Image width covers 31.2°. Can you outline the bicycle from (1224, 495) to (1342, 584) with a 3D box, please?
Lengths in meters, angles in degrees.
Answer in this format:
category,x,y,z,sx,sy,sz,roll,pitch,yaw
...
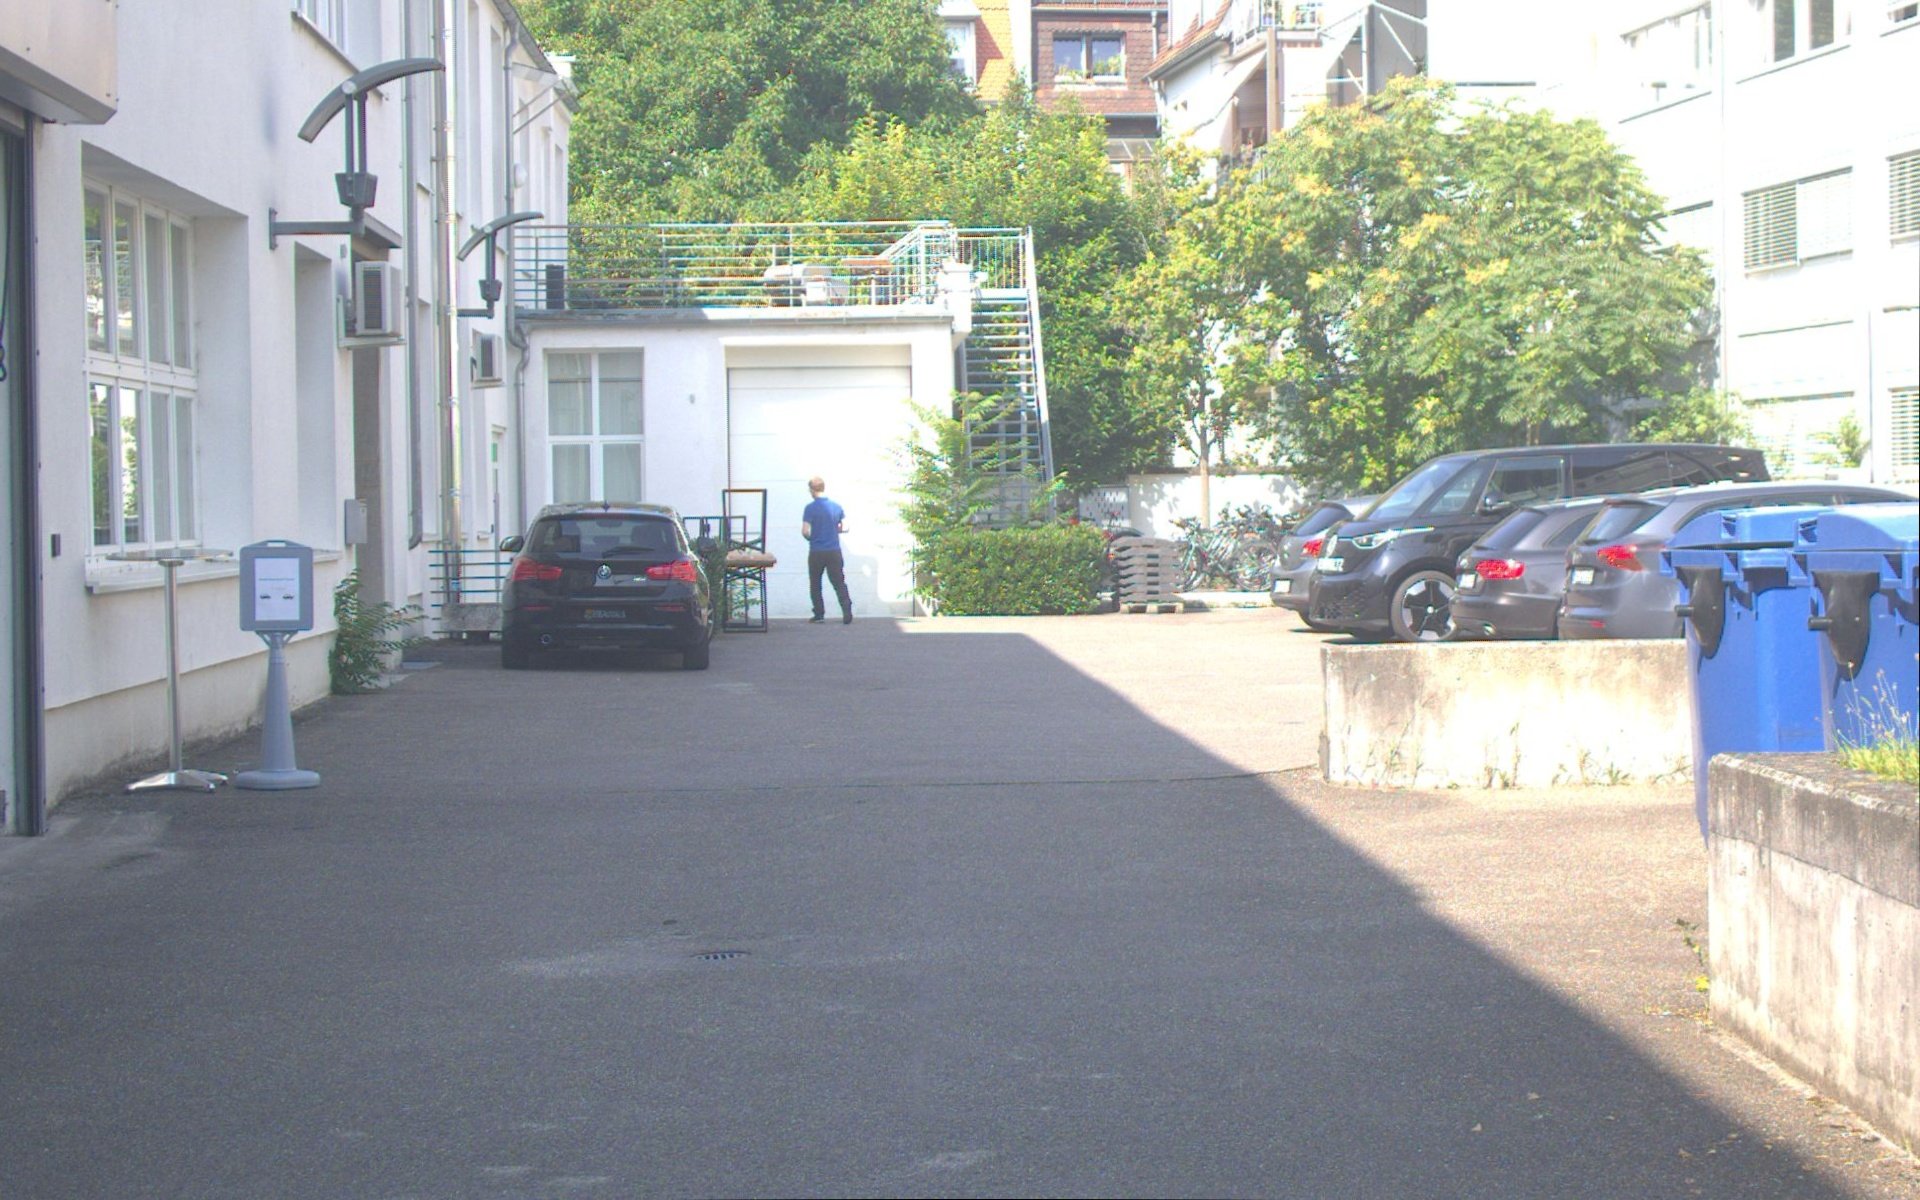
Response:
category,x,y,z,sx,sy,sz,roll,pitch,yaw
bicycle,4.688,-0.878,49.853,1.624,1.210,0.424,-2,2,11

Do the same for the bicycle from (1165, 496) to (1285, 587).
category,x,y,z,sx,sy,sz,roll,pitch,yaw
bicycle,3.762,-0.833,48.855,1.624,1.210,0.327,-2,2,11

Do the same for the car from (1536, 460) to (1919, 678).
category,x,y,z,sx,sy,sz,roll,pitch,yaw
car,6.673,-0.274,26.902,3.861,1.583,1.880,-2,1,-7

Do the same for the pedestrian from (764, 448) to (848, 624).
category,x,y,z,sx,sy,sz,roll,pitch,yaw
pedestrian,-1.788,-0.744,40.108,0.913,2.007,0.935,-1,1,-2

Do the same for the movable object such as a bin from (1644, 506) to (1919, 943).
category,x,y,z,sx,sy,sz,roll,pitch,yaw
movable object such as a bin,3.040,0.365,11.239,1.300,1.336,1.195,-1,1,-3

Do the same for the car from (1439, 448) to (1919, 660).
category,x,y,z,sx,sy,sz,roll,pitch,yaw
car,6.377,-0.409,29.712,4.116,1.686,1.771,-1,1,-5

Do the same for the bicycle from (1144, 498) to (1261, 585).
category,x,y,z,sx,sy,sz,roll,pitch,yaw
bicycle,3.585,-0.871,50.765,1.623,1.210,0.424,-3,2,-6

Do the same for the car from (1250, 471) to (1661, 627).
category,x,y,z,sx,sy,sz,roll,pitch,yaw
car,5.270,-0.548,36.772,3.931,1.477,1.775,-2,1,-11

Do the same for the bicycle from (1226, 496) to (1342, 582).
category,x,y,z,sx,sy,sz,roll,pitch,yaw
bicycle,4.794,-0.903,50.883,1.624,1.210,0.424,-2,2,11

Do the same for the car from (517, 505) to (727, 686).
category,x,y,z,sx,sy,sz,roll,pitch,yaw
car,-2.940,-0.080,30.518,1.688,1.454,3.924,-1,1,-4

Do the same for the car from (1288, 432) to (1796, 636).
category,x,y,z,sx,sy,sz,roll,pitch,yaw
car,5.702,-0.653,33.895,4.499,1.788,1.884,-2,1,-11

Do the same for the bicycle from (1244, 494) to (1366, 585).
category,x,y,z,sx,sy,sz,roll,pitch,yaw
bicycle,4.860,-0.850,48.421,1.624,1.210,0.327,-2,2,13

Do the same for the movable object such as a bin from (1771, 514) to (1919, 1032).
category,x,y,z,sx,sy,sz,roll,pitch,yaw
movable object such as a bin,3.065,0.422,9.487,1.309,1.336,1.100,-1,1,-5

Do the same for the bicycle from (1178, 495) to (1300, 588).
category,x,y,z,sx,sy,sz,roll,pitch,yaw
bicycle,3.873,-0.811,47.749,1.623,1.210,0.327,-3,2,0

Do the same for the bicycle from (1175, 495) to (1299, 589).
category,x,y,z,sx,sy,sz,roll,pitch,yaw
bicycle,3.818,-0.802,47.426,1.623,1.210,0.327,-3,2,0

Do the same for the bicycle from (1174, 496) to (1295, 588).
category,x,y,z,sx,sy,sz,roll,pitch,yaw
bicycle,3.833,-0.817,48.042,1.623,1.210,0.327,-3,2,0

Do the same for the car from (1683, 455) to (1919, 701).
category,x,y,z,sx,sy,sz,roll,pitch,yaw
car,7.170,-0.204,23.711,3.798,1.583,1.898,-2,1,-11

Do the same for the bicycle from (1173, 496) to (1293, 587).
category,x,y,z,sx,sy,sz,roll,pitch,yaw
bicycle,3.853,-0.827,48.493,1.623,1.210,0.327,-2,2,8

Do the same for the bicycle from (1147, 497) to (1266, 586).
category,x,y,z,sx,sy,sz,roll,pitch,yaw
bicycle,3.550,-0.843,49.526,1.623,1.210,0.424,-3,2,-2
